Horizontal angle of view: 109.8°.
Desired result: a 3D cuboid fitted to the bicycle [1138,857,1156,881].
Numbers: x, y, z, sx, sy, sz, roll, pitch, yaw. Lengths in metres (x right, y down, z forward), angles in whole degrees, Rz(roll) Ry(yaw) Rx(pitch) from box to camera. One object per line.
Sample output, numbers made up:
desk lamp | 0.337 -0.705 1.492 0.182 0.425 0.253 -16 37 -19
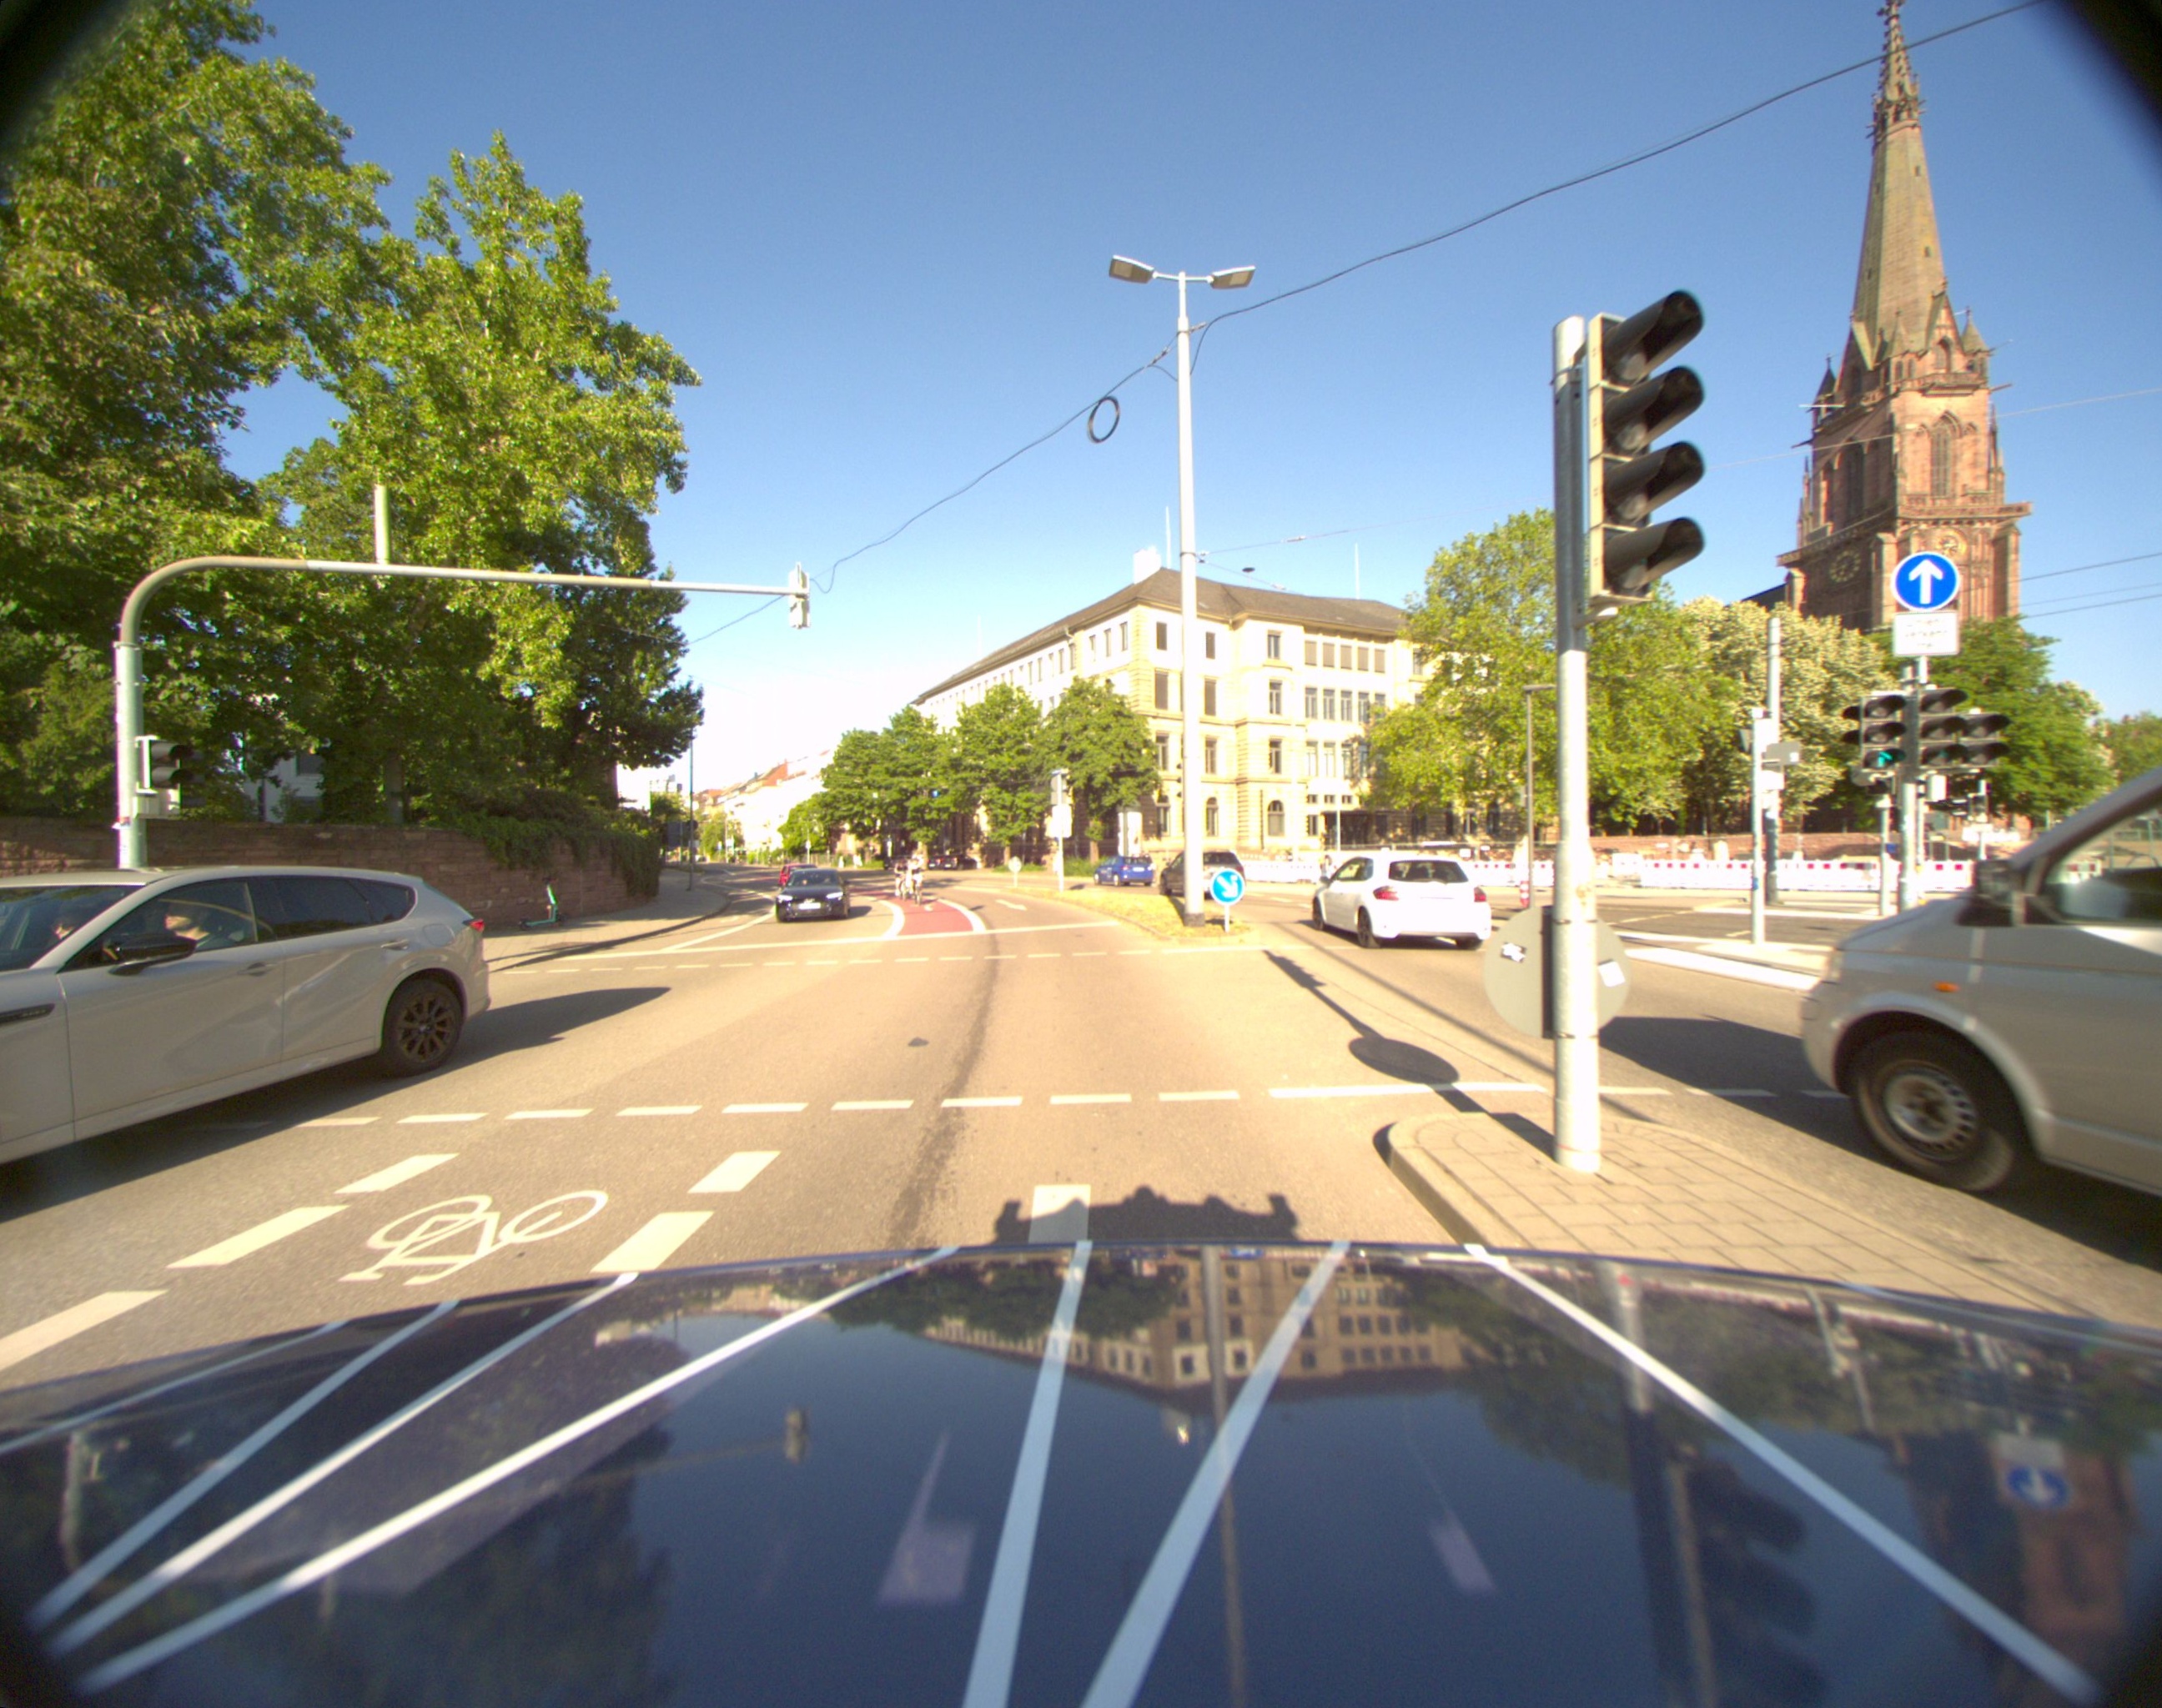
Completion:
bicycle | 3.539 0.790 40.845 0.676 1.243 2.456 2 1 0

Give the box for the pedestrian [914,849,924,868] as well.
pedestrian | -14.522 0.408 68.148 0.676 1.638 0.816 -2 1 -23

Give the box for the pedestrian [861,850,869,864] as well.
pedestrian | -25.748 0.403 90.600 0.677 1.638 0.815 -2 1 -32

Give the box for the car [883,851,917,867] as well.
car | -19.288 0.509 81.081 1.646 1.552 3.655 -2 2 24

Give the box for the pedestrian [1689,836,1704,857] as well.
pedestrian | 47.431 -0.562 58.561 0.638 1.638 0.675 -2 1 -11

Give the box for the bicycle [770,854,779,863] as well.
bicycle | -42.772 0.616 106.103 0.677 1.243 2.450 -1 1 -32

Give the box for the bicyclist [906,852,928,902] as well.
bicyclist | -5.510 0.759 25.473 0.676 1.638 1.028 -1 1 -14

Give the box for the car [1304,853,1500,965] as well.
car | 5.162 0.785 12.820 1.698 1.551 3.980 -1 0 1

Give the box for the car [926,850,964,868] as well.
car | -12.758 0.456 71.558 1.646 1.552 3.655 -2 2 24

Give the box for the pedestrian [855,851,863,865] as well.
pedestrian | -26.300 0.510 90.166 0.677 1.638 0.815 -2 1 -32

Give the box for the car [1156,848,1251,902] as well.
car | 4.096 0.640 26.260 1.768 1.696 4.525 0 1 -11

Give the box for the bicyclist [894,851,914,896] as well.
bicyclist | -6.592 0.726 28.350 0.676 1.638 1.028 -1 1 -12

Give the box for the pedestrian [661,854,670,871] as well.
pedestrian | -41.592 0.843 76.070 0.677 1.638 0.815 -2 1 -32

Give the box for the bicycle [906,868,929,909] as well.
bicycle | -5.501 1.107 25.455 0.676 1.243 2.453 -1 1 -14

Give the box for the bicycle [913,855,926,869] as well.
bicycle | -14.517 0.695 68.158 0.677 1.243 2.452 -2 1 -23

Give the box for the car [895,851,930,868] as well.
car | -17.308 0.513 78.229 1.646 1.552 3.655 -2 2 24

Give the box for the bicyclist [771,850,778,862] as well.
bicyclist | -42.747 0.309 106.026 0.677 1.638 1.026 -1 1 -32

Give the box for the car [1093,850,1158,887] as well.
car | 2.042 0.658 36.027 1.744 1.565 3.917 1 2 -17

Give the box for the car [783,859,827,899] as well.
car | -12.553 1.089 34.447 1.652 1.552 3.643 -3 2 -22

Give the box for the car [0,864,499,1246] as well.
car | -6.108 1.026 4.396 1.945 1.683 4.529 -2 1 -1

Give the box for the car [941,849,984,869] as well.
car | -10.813 0.449 69.508 1.842 1.622 4.187 -2 2 24

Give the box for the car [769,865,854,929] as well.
car | -7.477 1.116 21.421 1.790 1.425 3.994 -3 2 -14

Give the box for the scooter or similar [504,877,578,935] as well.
scooter or similar | -12.851 1.216 18.125 0.575 1.262 1.425 -1 1 9

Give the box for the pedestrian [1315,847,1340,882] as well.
pedestrian | 11.988 0.506 36.997 0.898 1.687 0.712 3 3 41

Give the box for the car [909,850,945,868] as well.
car | -15.521 0.490 76.578 1.646 1.552 3.655 -2 2 24

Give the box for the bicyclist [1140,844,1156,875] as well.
bicyclist | 3.563 0.285 40.659 0.710 1.648 0.901 2 1 -1

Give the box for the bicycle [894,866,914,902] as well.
bicycle | -6.610 1.097 28.465 0.676 1.243 2.454 -1 1 -12

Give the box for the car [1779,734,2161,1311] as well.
car | 4.557 0.582 1.599 1.913 1.934 4.706 1 1 2
